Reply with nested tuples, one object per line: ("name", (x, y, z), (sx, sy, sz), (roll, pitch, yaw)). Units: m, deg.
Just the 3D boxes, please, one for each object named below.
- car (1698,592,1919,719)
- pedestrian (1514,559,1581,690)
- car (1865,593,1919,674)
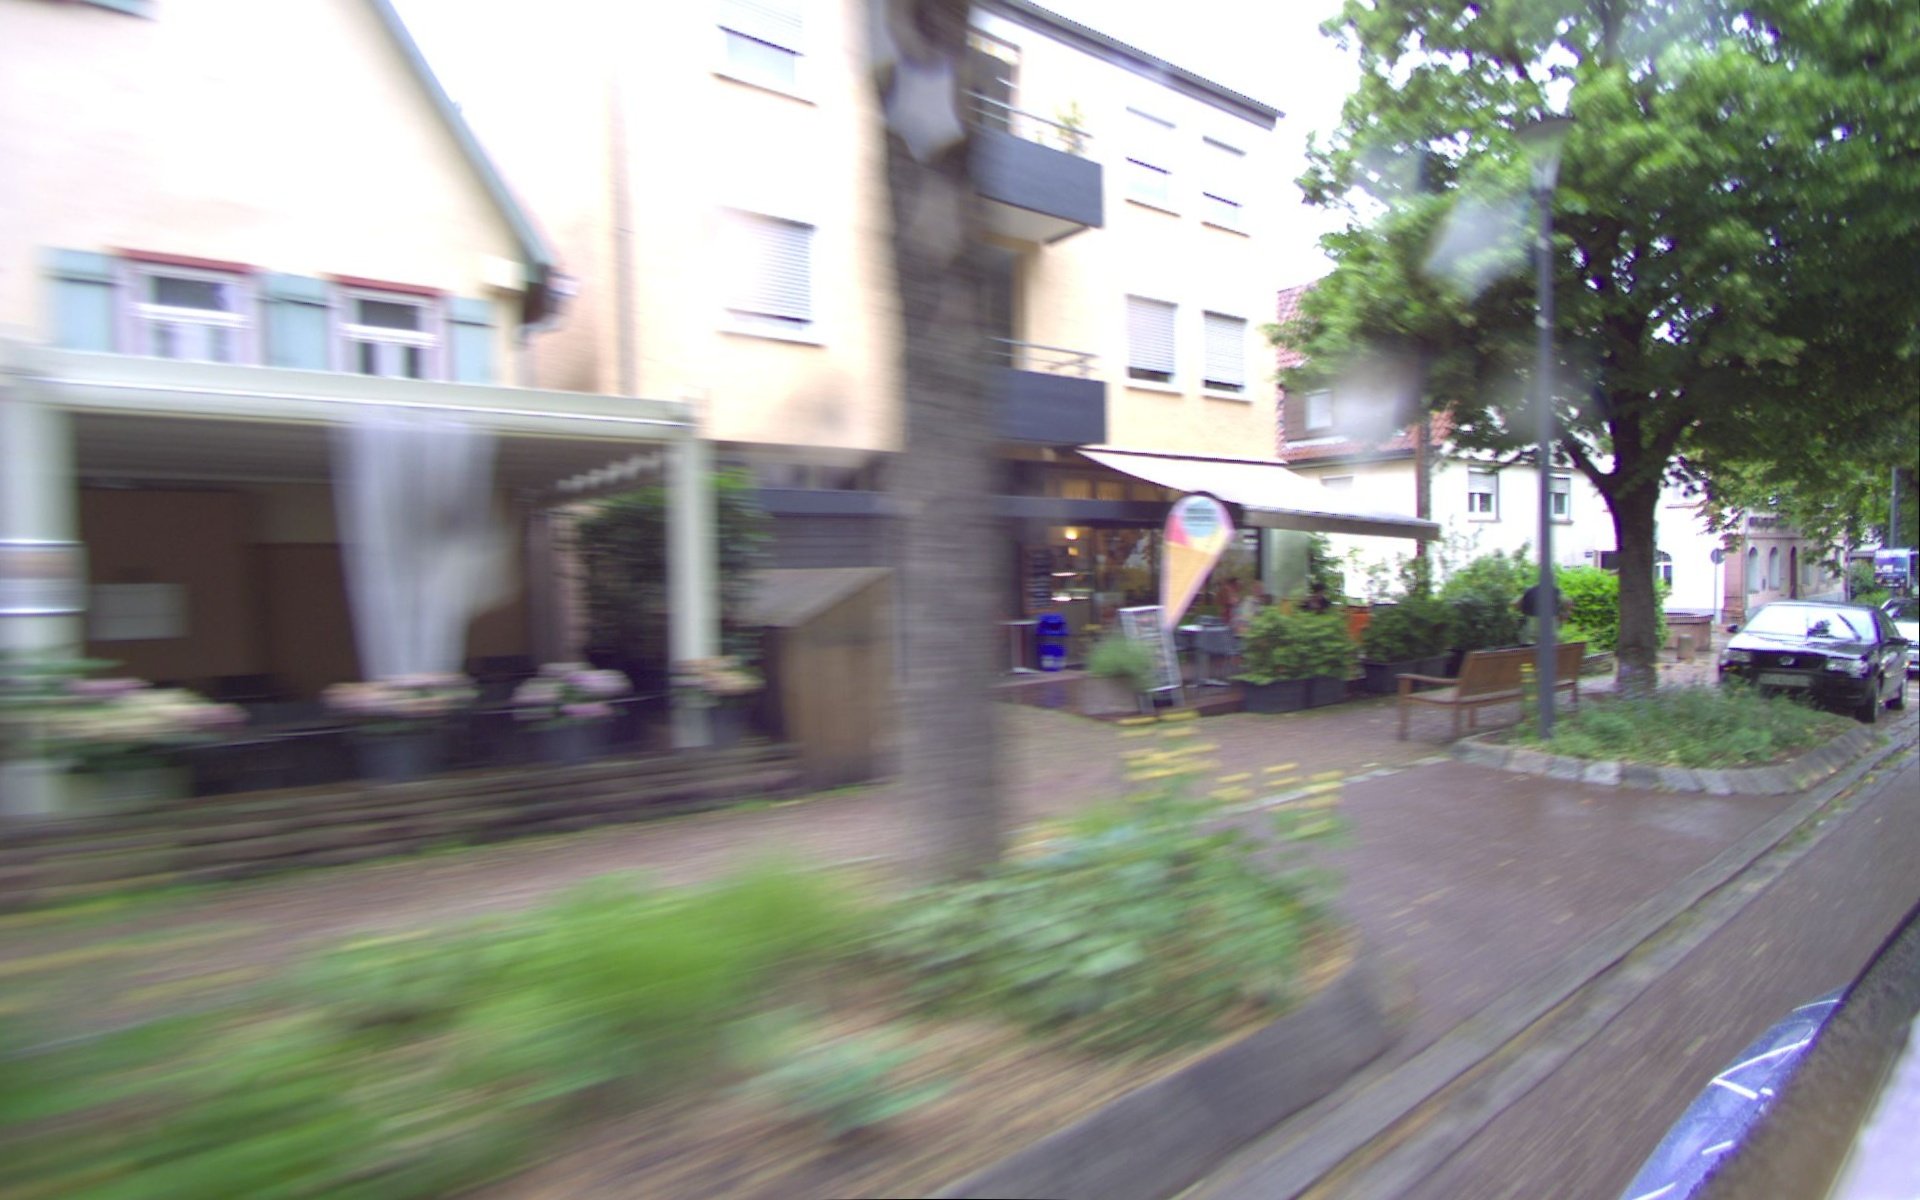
("car", (11.336, 0.620, 13.352), (3.717, 1.429, 1.811), (0, 0, -41))
("pedestrian", (8.110, 0.326, 13.978), (0.762, 1.753, 0.487), (1, 0, 31))
("car", (18.478, 0.590, 19.085), (3.729, 1.417, 1.683), (0, 2, -42))
